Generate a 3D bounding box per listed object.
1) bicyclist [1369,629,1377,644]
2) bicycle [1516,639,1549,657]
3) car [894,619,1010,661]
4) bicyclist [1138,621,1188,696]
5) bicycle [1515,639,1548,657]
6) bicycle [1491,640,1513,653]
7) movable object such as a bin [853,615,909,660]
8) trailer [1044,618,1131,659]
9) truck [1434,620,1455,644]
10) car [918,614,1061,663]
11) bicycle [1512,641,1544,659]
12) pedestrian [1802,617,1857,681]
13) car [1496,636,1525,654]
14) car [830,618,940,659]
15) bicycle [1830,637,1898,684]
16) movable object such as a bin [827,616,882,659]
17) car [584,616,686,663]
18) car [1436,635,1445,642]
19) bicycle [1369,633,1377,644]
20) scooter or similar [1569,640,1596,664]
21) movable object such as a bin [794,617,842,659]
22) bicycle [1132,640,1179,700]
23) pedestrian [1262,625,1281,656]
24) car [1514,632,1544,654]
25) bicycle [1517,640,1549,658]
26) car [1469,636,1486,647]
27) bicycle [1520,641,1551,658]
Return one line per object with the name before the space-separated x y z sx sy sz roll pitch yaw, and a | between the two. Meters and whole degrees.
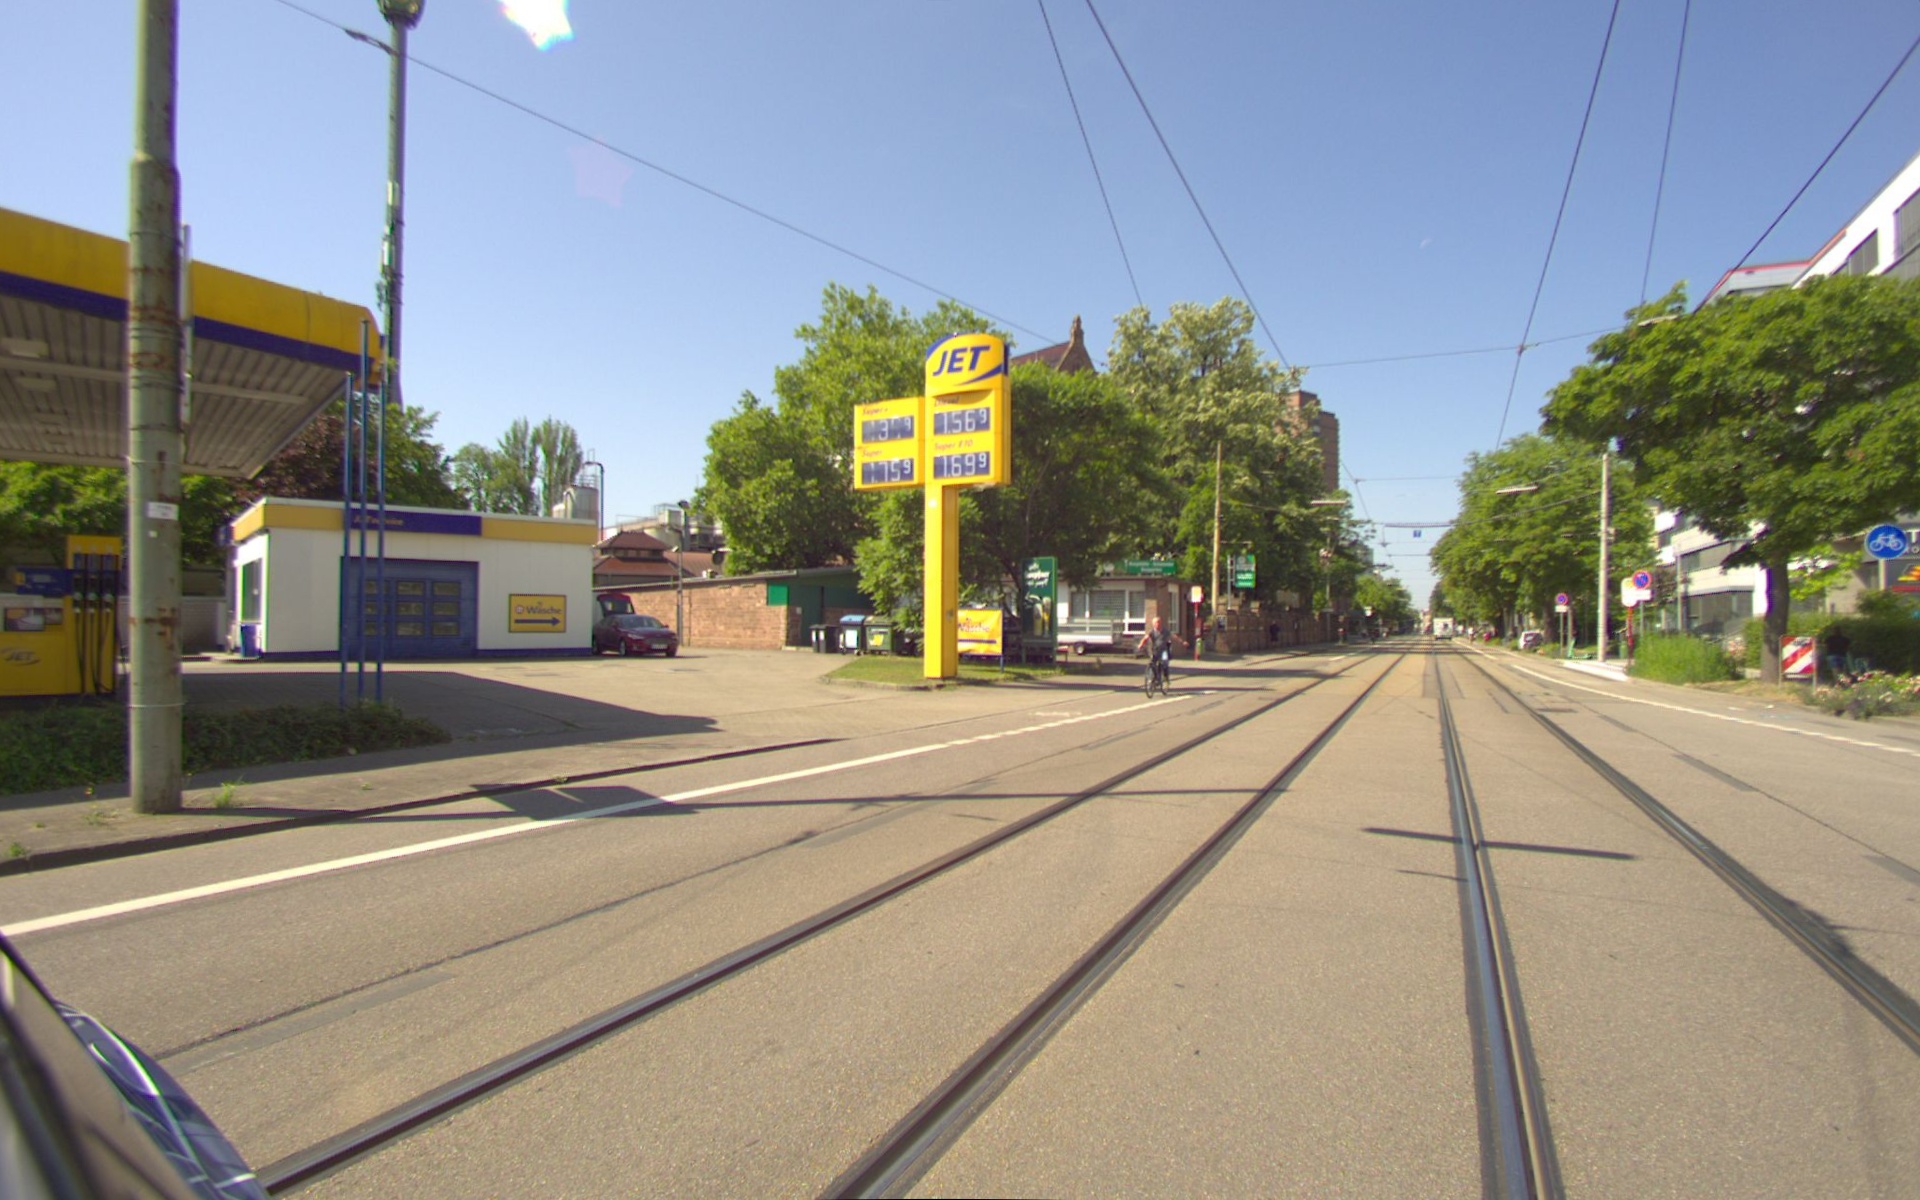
bicyclist | 42.050 3.683 102.971 0.738 1.542 0.939 0 -2 25
bicycle | 38.858 3.262 68.721 1.868 1.150 0.680 -1 -2 25
car | -0.315 1.506 38.148 3.931 1.485 1.853 1 -2 -21
bicyclist | 4.455 1.261 22.181 0.900 1.608 0.957 -1 -2 22
bicycle | 39.129 3.262 69.303 1.899 1.178 0.812 -1 -2 25
bicycle | 49.282 4.217 92.019 1.720 1.094 0.474 -1 -2 25
movable object such as a bin | -2.729 1.273 35.040 1.416 1.514 1.366 -1 -2 28
trailer | 5.355 1.595 42.510 3.268 1.615 1.708 0 -2 27
truck | 65.142 4.323 136.188 2.396 3.132 5.986 0 -2 24
car | 1.042 1.350 35.554 4.579 1.653 2.027 1 -2 -21
bicycle | 35.850 3.142 63.885 1.720 1.094 0.782 -1 -2 25
pedestrian | 22.112 1.240 25.755 0.683 1.575 0.982 -2 -3 20
car | 45.694 3.717 84.034 1.624 1.494 4.241 0 -2 22
car | -2.980 1.511 39.876 3.931 1.569 1.853 1 -2 -21
bicycle | 22.621 1.495 25.368 0.634 1.126 2.050 0 -2 24
movable object such as a bin | -3.814 1.335 36.480 1.421 1.514 1.360 -1 -2 41
car | -11.338 1.326 35.140 1.862 1.471 4.565 0 0 -39
car | 97.766 7.863 206.046 1.626 1.483 4.078 -1 -2 25
bicycle | 41.974 3.926 102.809 0.590 1.114 2.036 0 -2 25
scooter or similar | 31.440 2.631 51.118 1.124 1.175 0.669 -1 -2 28
movable object such as a bin | -5.322 1.413 37.863 1.309 1.514 1.333 1 -3 -36
bicycle | 4.294 1.494 22.121 0.608 1.206 2.107 -1 -2 22
pedestrian | 19.362 2.508 62.811 0.974 1.830 1.174 0 -2 25
car | 40.924 3.072 72.787 1.626 1.483 3.598 0 -2 26
bicycle | 38.561 3.289 68.116 1.844 1.140 0.675 -1 -2 25
car | 65.512 5.232 128.156 1.624 1.365 3.871 -1 -2 23
bicycle | 37.994 3.244 66.832 1.720 1.094 0.634 -1 -2 25
